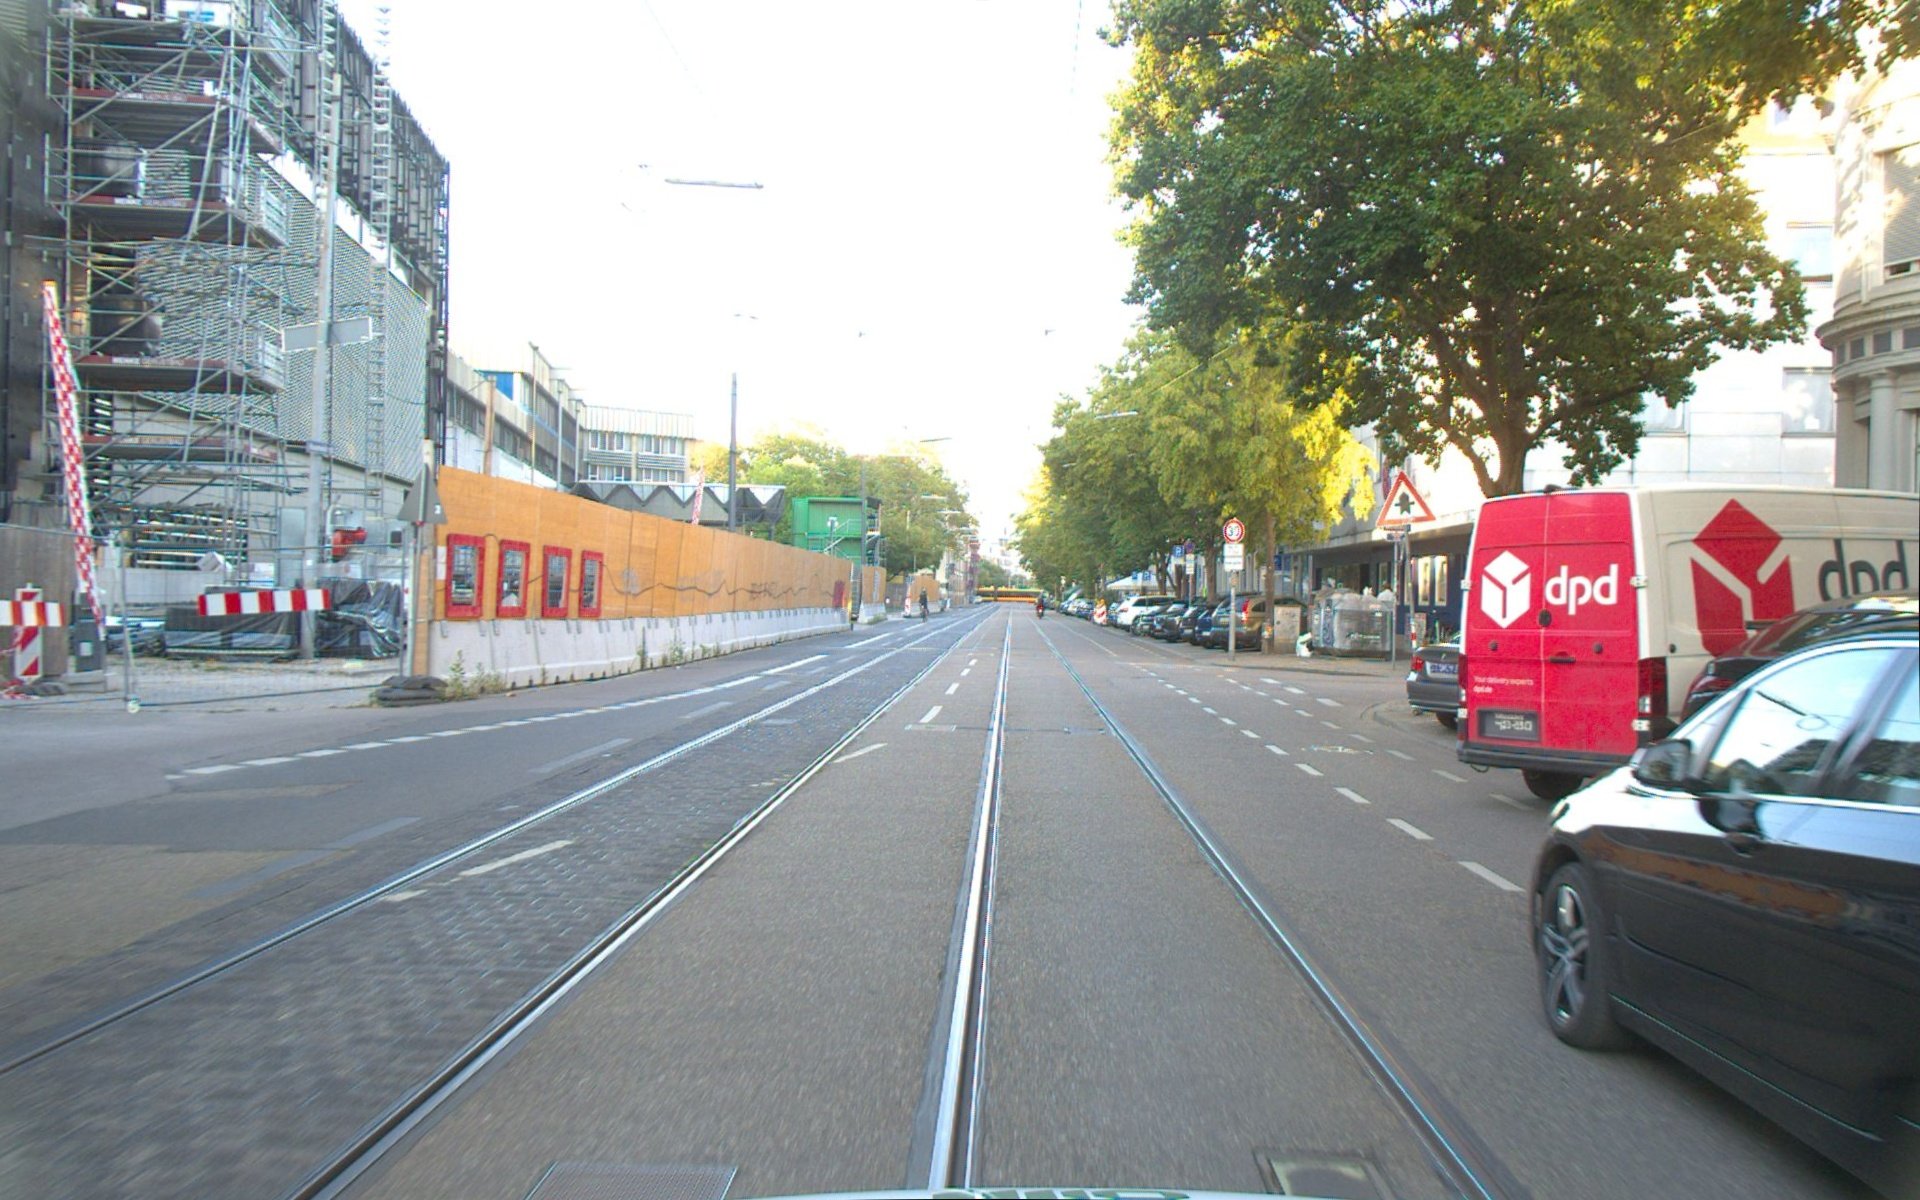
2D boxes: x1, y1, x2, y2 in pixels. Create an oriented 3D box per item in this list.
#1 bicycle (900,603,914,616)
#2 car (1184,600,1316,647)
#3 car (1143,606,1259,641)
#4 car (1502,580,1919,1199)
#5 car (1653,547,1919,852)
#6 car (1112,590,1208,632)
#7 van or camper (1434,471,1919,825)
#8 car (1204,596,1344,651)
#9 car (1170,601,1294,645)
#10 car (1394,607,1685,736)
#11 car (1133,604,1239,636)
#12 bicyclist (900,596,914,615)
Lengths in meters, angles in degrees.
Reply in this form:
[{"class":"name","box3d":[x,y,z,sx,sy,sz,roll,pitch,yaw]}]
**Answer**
[{"class":"bicycle","box3d":[-3.726,0.650,116.880,0.928,0.864,2.696,1,0,-1]},{"class":"car","box3d":[9.372,0.753,53.492,3.875,1.430,1.629,1,0,-14]},{"class":"car","box3d":[8.812,0.863,60.601,3.875,1.195,1.629,1,0,-14]},{"class":"car","box3d":[3.109,0.830,4.670,1.843,1.648,4.001,3,0,1]},{"class":"car","box3d":[6.952,0.527,11.430,3.892,1.796,1.826,-2,0,-25]},{"class":"car","box3d":[8.767,0.487,72.593,3.873,1.752,1.629,1,0,-13]},{"class":"van or camper","box3d":[6.823,0.266,14.403,5.481,2.574,2.063,-2,0,-33]},{"class":"car","box3d":[9.548,0.700,50.326,3.875,1.606,1.629,1,0,-14]},{"class":"car","box3d":[9.332,0.771,56.726,3.875,1.430,1.629,1,0,-14]},{"class":"car","box3d":[7.283,0.834,20.665,3.741,1.332,1.633,-2,0,-37]},{"class":"car","box3d":[8.999,0.804,65.825,3.873,1.195,1.629,1,0,-13]},{"class":"bicyclist","box3d":[-3.714,0.380,116.057,0.925,1.369,1.111,1,0,-1]}]
